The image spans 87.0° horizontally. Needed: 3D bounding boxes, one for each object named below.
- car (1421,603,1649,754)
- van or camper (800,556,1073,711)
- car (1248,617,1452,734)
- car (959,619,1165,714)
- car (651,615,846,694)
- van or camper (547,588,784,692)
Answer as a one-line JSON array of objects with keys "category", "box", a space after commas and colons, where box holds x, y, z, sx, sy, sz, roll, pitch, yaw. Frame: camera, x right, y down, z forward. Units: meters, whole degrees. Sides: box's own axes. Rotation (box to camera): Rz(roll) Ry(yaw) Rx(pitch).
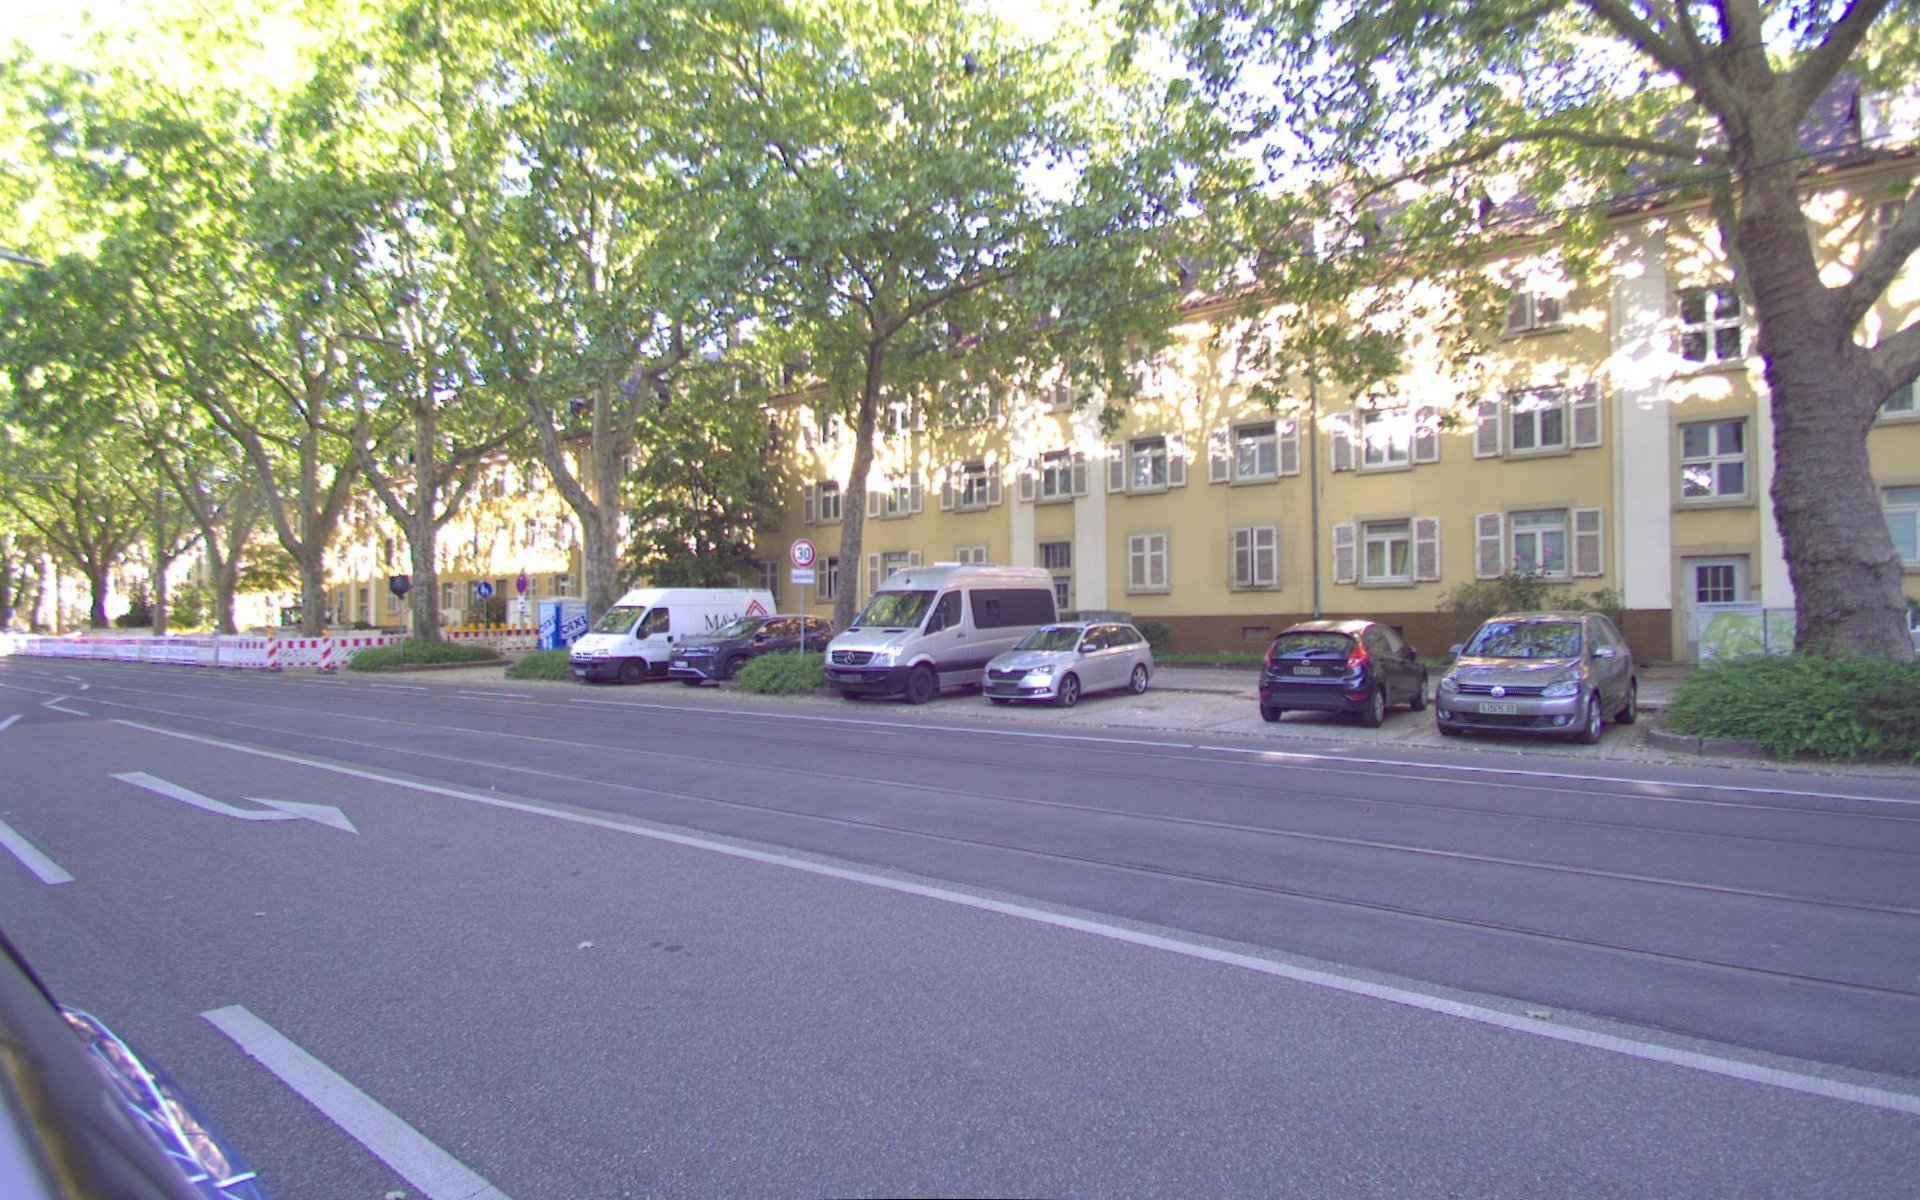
[{"category": "car", "box": [7.668, 0.881, 13.321, 1.844, 1.631, 4.028, -1, 0, 41]}, {"category": "van or camper", "box": [-0.270, 0.565, 20.337, 2.154, 2.668, 5.857, -1, 0, 40]}, {"category": "car", "box": [6.013, 1.029, 15.381, 1.693, 1.457, 3.811, -1, 0, 41]}, {"category": "car", "box": [2.000, 1.141, 18.779, 1.693, 1.457, 4.221, -1, 0, 41]}, {"category": "car", "box": [-4.975, 1.221, 24.333, 1.693, 1.645, 4.481, -1, 0, 41]}, {"category": "van or camper", "box": [-7.490, 0.918, 26.345, 2.154, 2.403, 5.690, -1, 0, 40]}]
